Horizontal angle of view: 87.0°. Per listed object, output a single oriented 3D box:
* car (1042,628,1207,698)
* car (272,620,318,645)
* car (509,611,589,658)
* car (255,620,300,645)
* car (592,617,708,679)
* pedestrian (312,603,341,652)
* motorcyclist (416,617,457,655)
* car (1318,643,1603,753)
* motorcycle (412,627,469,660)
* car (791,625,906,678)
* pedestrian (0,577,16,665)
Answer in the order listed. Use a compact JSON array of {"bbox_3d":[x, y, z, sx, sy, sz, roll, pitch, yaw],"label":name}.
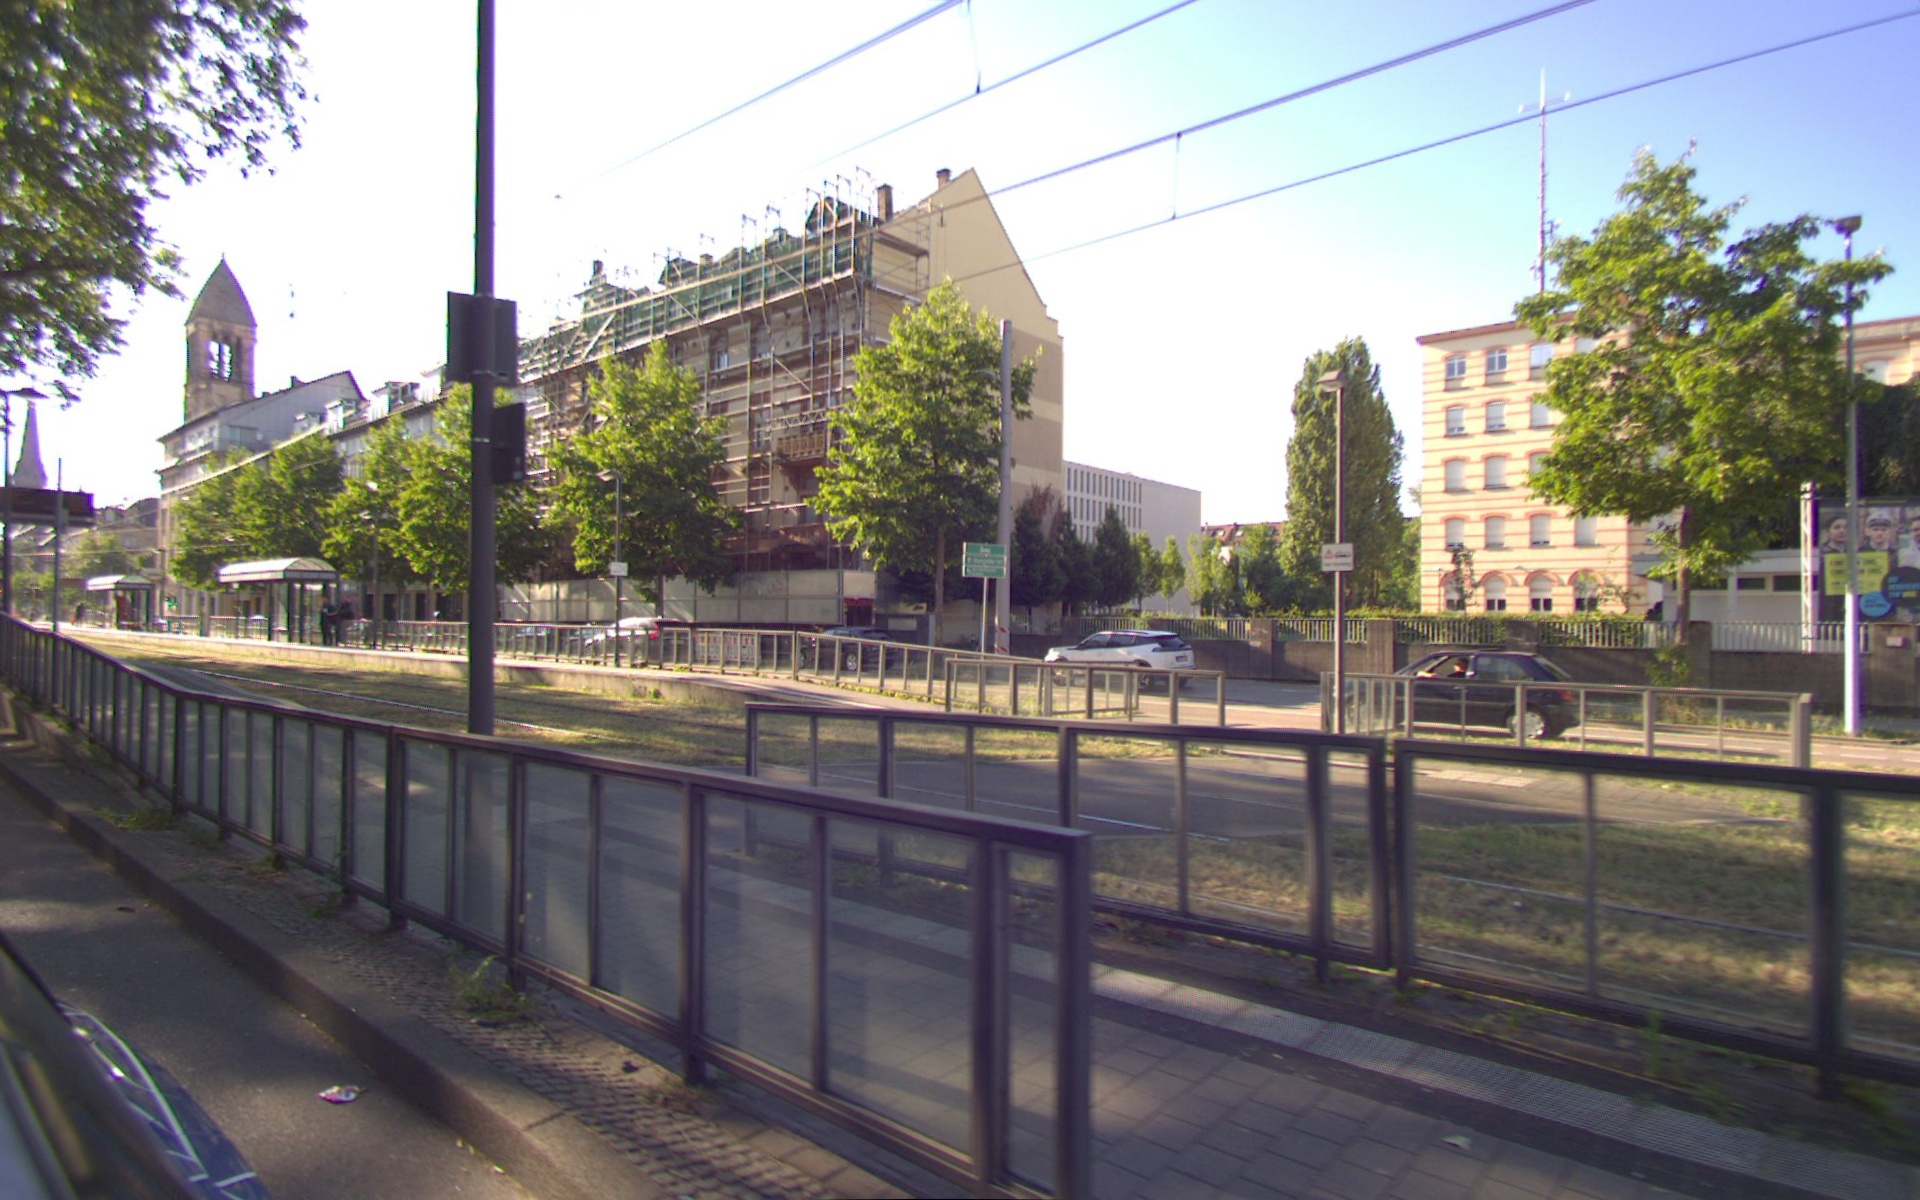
[{"bbox_3d":[4.271,1.584,26.652,1.702,1.598,4.067,-1,0,-45],"label":"car"},{"bbox_3d":[-47.285,2.286,71.947,3.783,1.648,1.788,0,0,41],"label":"car"},{"bbox_3d":[-19.347,1.572,47.591,4.000,2.029,1.972,0,0,43],"label":"car"},{"bbox_3d":[-50.259,2.386,74.491,3.783,1.690,1.788,0,0,41],"label":"car"},{"bbox_3d":[-10.162,1.499,33.014,4.027,1.819,1.844,0,0,43],"label":"car"},{"bbox_3d":[-22.417,0.954,35.822,0.654,1.703,0.672,-1,0,39],"label":"pedestrian"},{"bbox_3d":[-18.419,1.258,35.628,1.274,1.309,0.810,0,0,36],"label":"motorcyclist"},{"bbox_3d":[7.995,1.480,16.351,3.849,1.418,1.589,0,0,41],"label":"car"},{"bbox_3d":[-18.218,1.511,35.484,2.397,1.081,0.810,0,0,37],"label":"motorcycle"},{"bbox_3d":[-3.834,1.690,34.294,1.702,1.598,4.067,-1,0,-45],"label":"car"},{"bbox_3d":[-18.960,0.412,19.718,0.678,1.703,0.749,-1,0,41],"label":"pedestrian"}]
